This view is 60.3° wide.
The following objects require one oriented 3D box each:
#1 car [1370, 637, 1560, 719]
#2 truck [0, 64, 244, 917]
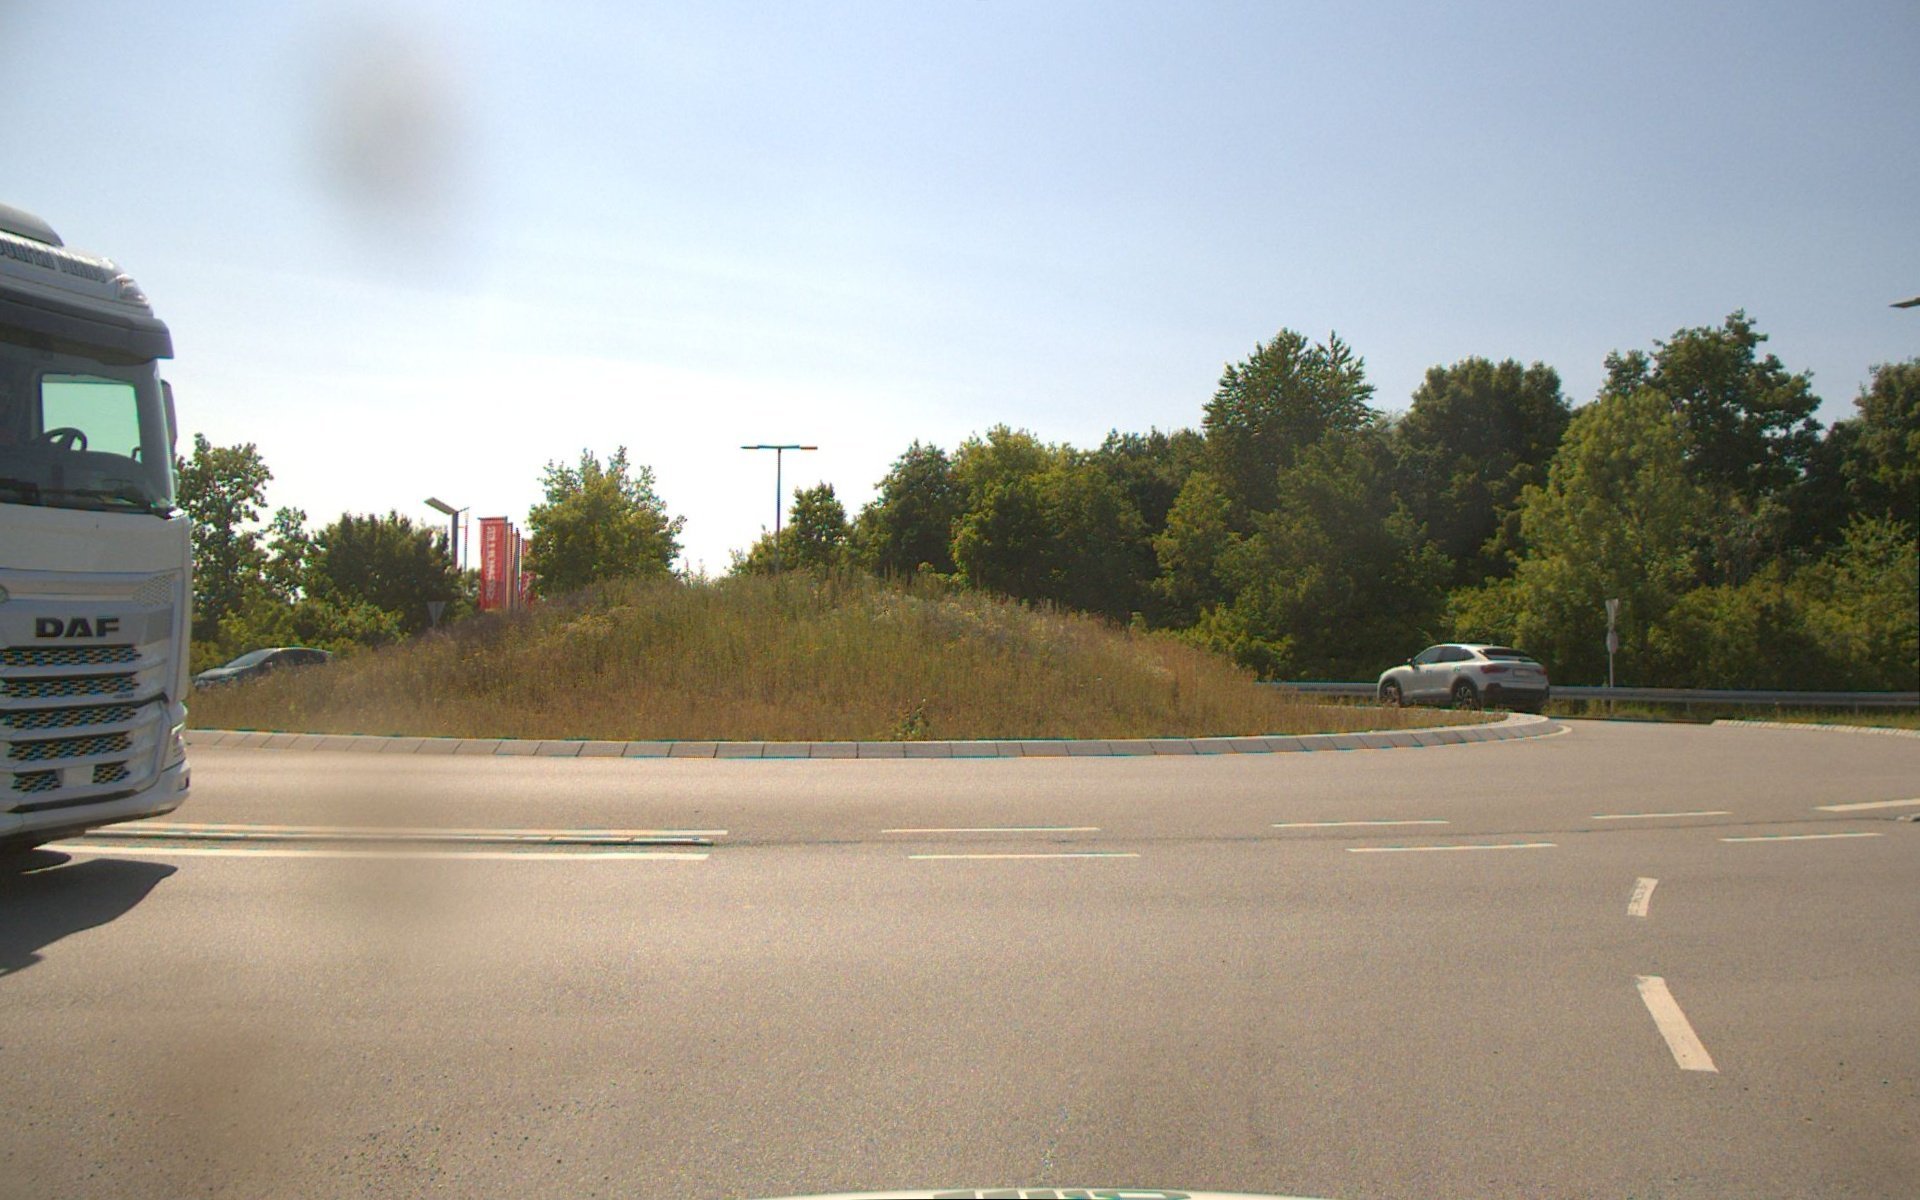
[{"bbox_3d":[11.014,1.664,36.373,1.814,1.624,4.300,2,-1,-19],"label":"car"},{"bbox_3d":[-7.654,-0.554,9.282,6.277,4.179,2.665,0,-1,14],"label":"truck"}]
